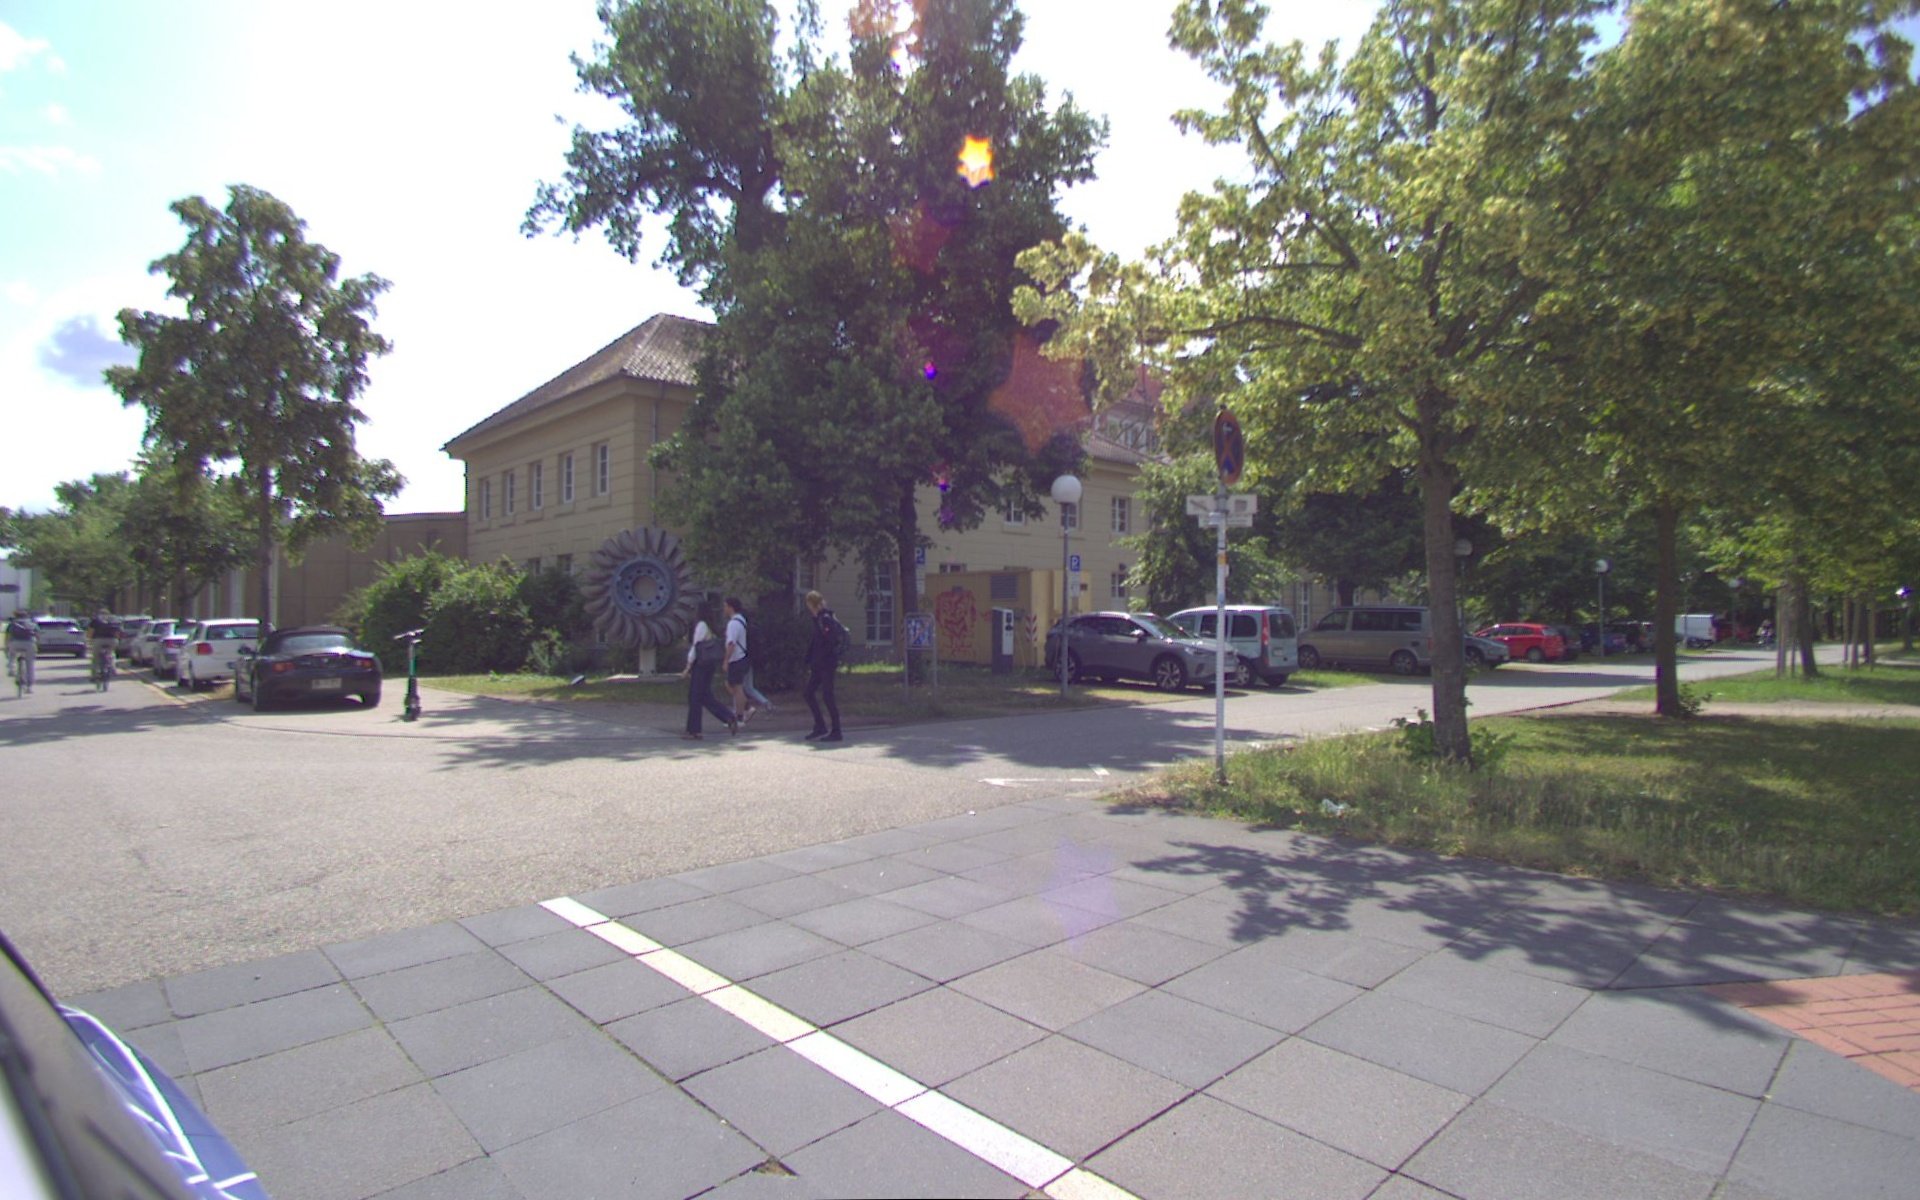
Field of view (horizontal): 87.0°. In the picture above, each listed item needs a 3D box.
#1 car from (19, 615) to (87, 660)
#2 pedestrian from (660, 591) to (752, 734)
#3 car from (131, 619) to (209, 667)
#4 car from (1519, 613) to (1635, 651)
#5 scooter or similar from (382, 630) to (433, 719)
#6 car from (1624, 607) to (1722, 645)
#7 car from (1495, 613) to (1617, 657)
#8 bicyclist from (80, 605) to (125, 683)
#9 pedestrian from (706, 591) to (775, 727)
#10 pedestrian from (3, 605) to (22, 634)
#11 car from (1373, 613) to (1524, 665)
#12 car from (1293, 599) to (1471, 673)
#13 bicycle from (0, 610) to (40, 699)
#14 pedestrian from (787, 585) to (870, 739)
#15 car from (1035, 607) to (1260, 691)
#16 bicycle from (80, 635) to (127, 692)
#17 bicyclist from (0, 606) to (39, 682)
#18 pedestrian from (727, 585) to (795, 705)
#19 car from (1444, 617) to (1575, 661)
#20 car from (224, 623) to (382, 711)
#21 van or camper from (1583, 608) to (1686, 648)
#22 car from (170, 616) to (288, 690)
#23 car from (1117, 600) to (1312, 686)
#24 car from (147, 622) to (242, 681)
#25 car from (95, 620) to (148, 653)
[{"bbox_3d":[-35.809,1.440,39.981,1.904,1.646,4.378,1,-2,-42],"label":"car"},{"bbox_3d":[-3.126,0.763,12.530,0.990,1.729,0.622,0,-2,-3],"label":"pedestrian"},{"bbox_3d":[-25.200,1.325,32.222,1.692,1.444,4.005,1,-2,-42],"label":"car"},{"bbox_3d":[27.657,1.411,45.471,1.785,1.553,4.129,1,-1,-43],"label":"car"},{"bbox_3d":[-7.988,1.048,14.615,0.463,1.225,1.207,1,-2,-37],"label":"scooter or similar"},{"bbox_3d":[39.343,1.431,55.909,1.785,1.958,4.129,1,-1,-43],"label":"car"},{"bbox_3d":[25.190,1.441,42.838,1.785,1.679,4.129,1,-1,-43],"label":"car"},{"bbox_3d":[-18.345,0.930,21.638,0.621,1.618,1.330,1,-2,-44],"label":"bicyclist"},{"bbox_3d":[-3.015,0.794,13.924,0.885,1.800,0.728,0,-1,-12],"label":"pedestrian"},{"bbox_3d":[-55.946,1.164,59.761,0.529,1.694,0.587,1,-2,-13],"label":"pedestrian"},{"bbox_3d":[16.090,1.242,33.468,1.785,1.553,4.129,1,-1,-43],"label":"car"},{"bbox_3d":[12.397,0.995,29.961,1.784,1.974,4.536,1,-1,-39],"label":"car"},{"bbox_3d":[-18.634,1.050,19.983,0.580,1.693,1.760,2,-2,-45],"label":"bicycle"},{"bbox_3d":[-1.599,0.736,12.244,0.858,1.800,0.571,1,-2,-24],"label":"pedestrian"},{"bbox_3d":[3.987,0.990,22.157,1.871,1.593,4.655,1,-1,-43],"label":"car"},{"bbox_3d":[-18.282,1.335,21.584,0.617,1.150,1.814,1,-2,-44],"label":"bicycle"},{"bbox_3d":[-18.629,0.853,19.988,1.234,1.464,0.579,-1,-2,45],"label":"bicyclist"},{"bbox_3d":[-2.945,0.658,14.934,0.956,1.729,0.559,0,-1,-13],"label":"pedestrian"},{"bbox_3d":[21.525,1.484,39.755,1.784,1.553,4.132,1,-1,-40],"label":"car"},{"bbox_3d":[-11.132,1.041,17.054,1.676,1.305,3.767,1,-2,-42],"label":"car"},{"bbox_3d":[34.409,1.394,51.685,1.785,1.900,4.087,1,-1,-43],"label":"van or camper"},{"bbox_3d":[-15.620,1.061,21.571,1.611,1.442,3.637,1,-1,-43],"label":"car"},{"bbox_3d":[5.903,0.943,23.781,1.785,1.799,4.129,1,-1,-43],"label":"car"},{"bbox_3d":[-19.644,1.256,25.914,1.624,1.387,4.005,1,-2,-42],"label":"car"},{"bbox_3d":[-43.244,1.847,52.158,1.904,1.646,4.378,1,-2,-42],"label":"car"}]
